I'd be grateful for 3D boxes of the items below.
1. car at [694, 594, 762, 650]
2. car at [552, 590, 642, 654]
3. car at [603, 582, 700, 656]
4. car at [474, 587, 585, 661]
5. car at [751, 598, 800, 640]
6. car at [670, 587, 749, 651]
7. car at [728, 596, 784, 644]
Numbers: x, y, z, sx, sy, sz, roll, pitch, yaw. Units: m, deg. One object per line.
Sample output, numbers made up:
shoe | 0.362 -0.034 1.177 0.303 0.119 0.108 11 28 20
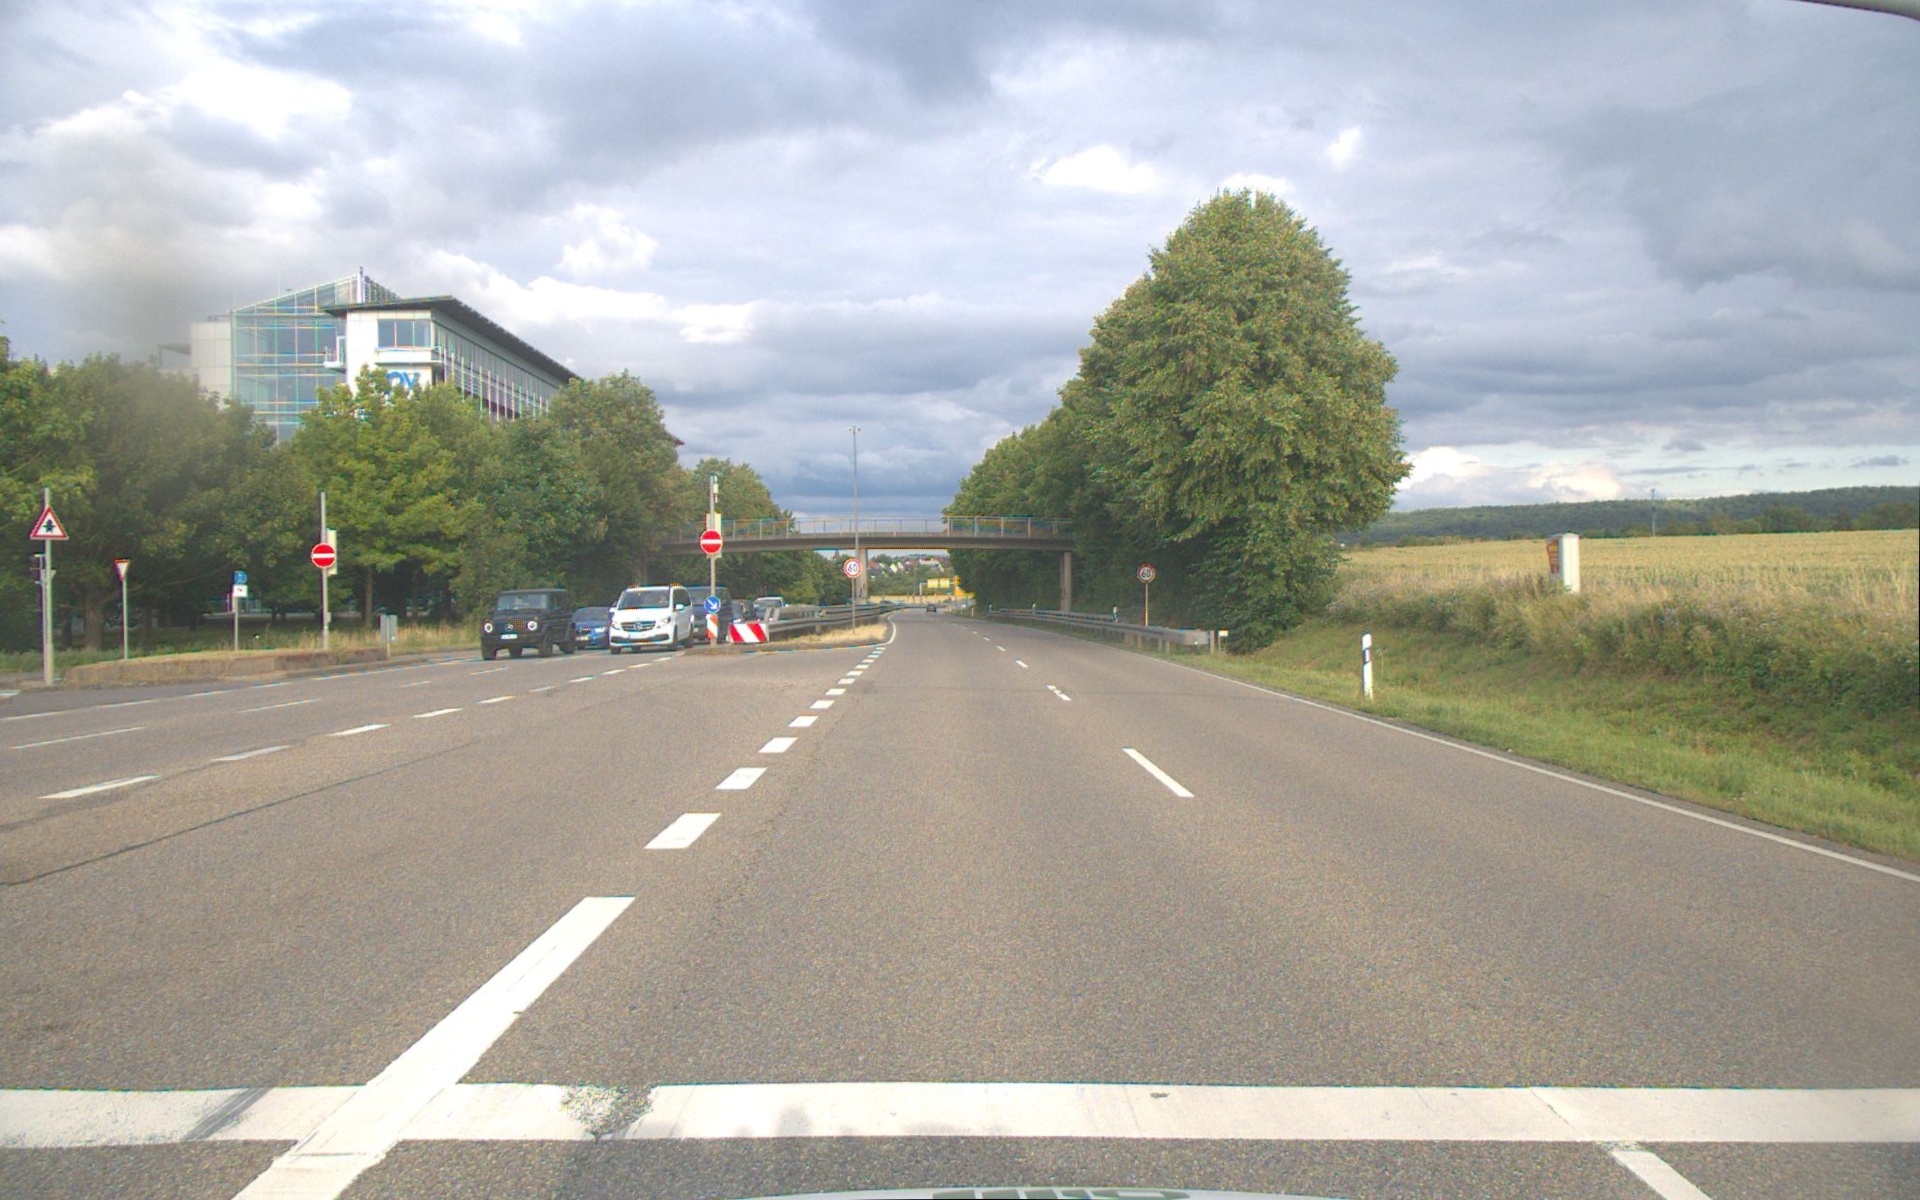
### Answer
car | -8.998 0.846 64.489 2.041 2.049 5.214 1 0 -2
car | -12.325 0.733 56.527 2.041 2.049 5.214 1 0 -2
car | -9.102 0.548 49.187 2.041 2.049 5.214 1 0 -2
car | -12.661 0.686 49.021 2.041 2.049 5.214 1 0 -2
car | -9.467 0.947 85.277 2.041 2.049 5.214 1 0 -2
car | -8.561 0.644 56.931 2.041 2.049 5.214 1 0 -2
car | -9.246 0.899 75.464 2.041 2.049 5.214 1 0 -2
